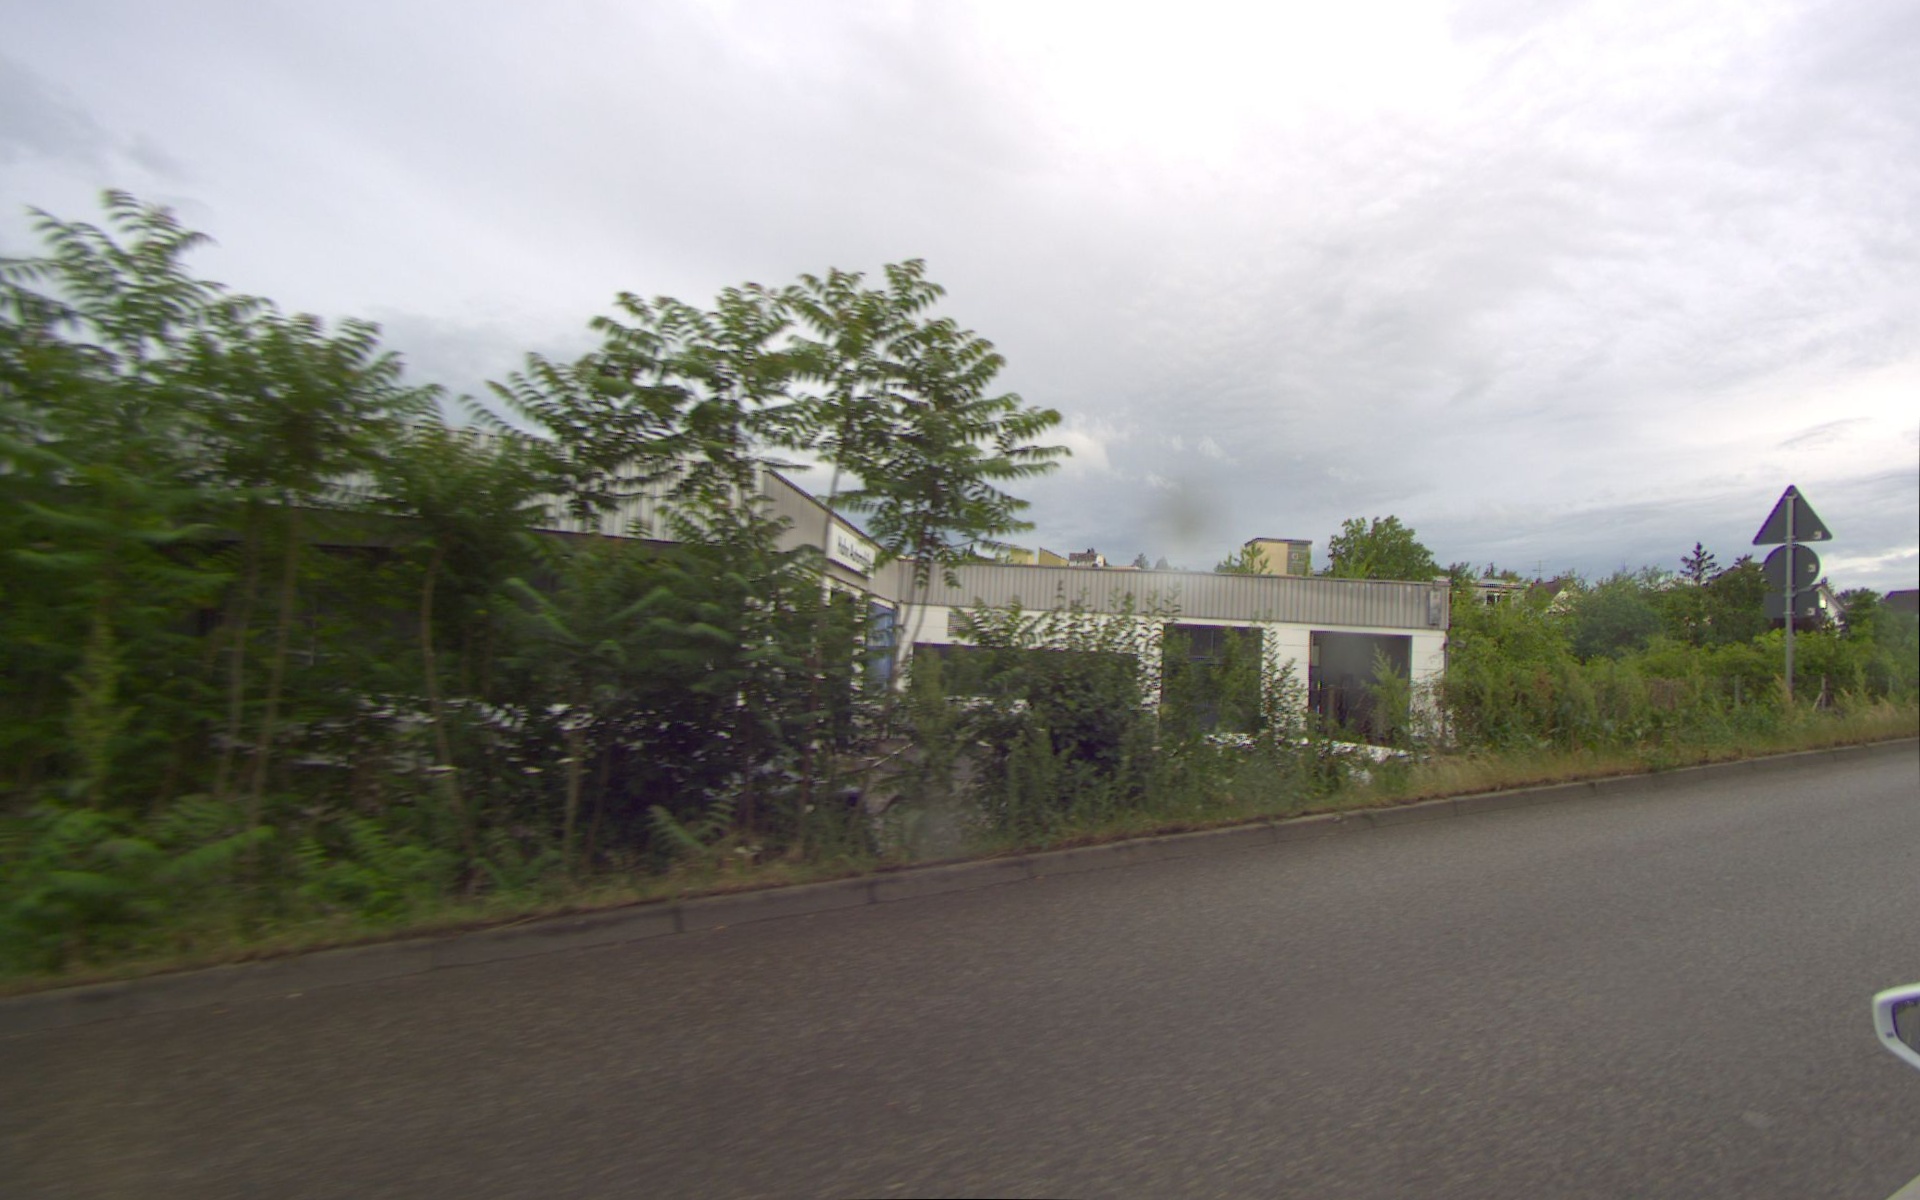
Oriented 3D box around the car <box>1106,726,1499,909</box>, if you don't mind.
[{"bbox_3d":[4.154,2.608,13.027,1.848,1.826,4.603,2,-7,-33],"label":"car"}]
